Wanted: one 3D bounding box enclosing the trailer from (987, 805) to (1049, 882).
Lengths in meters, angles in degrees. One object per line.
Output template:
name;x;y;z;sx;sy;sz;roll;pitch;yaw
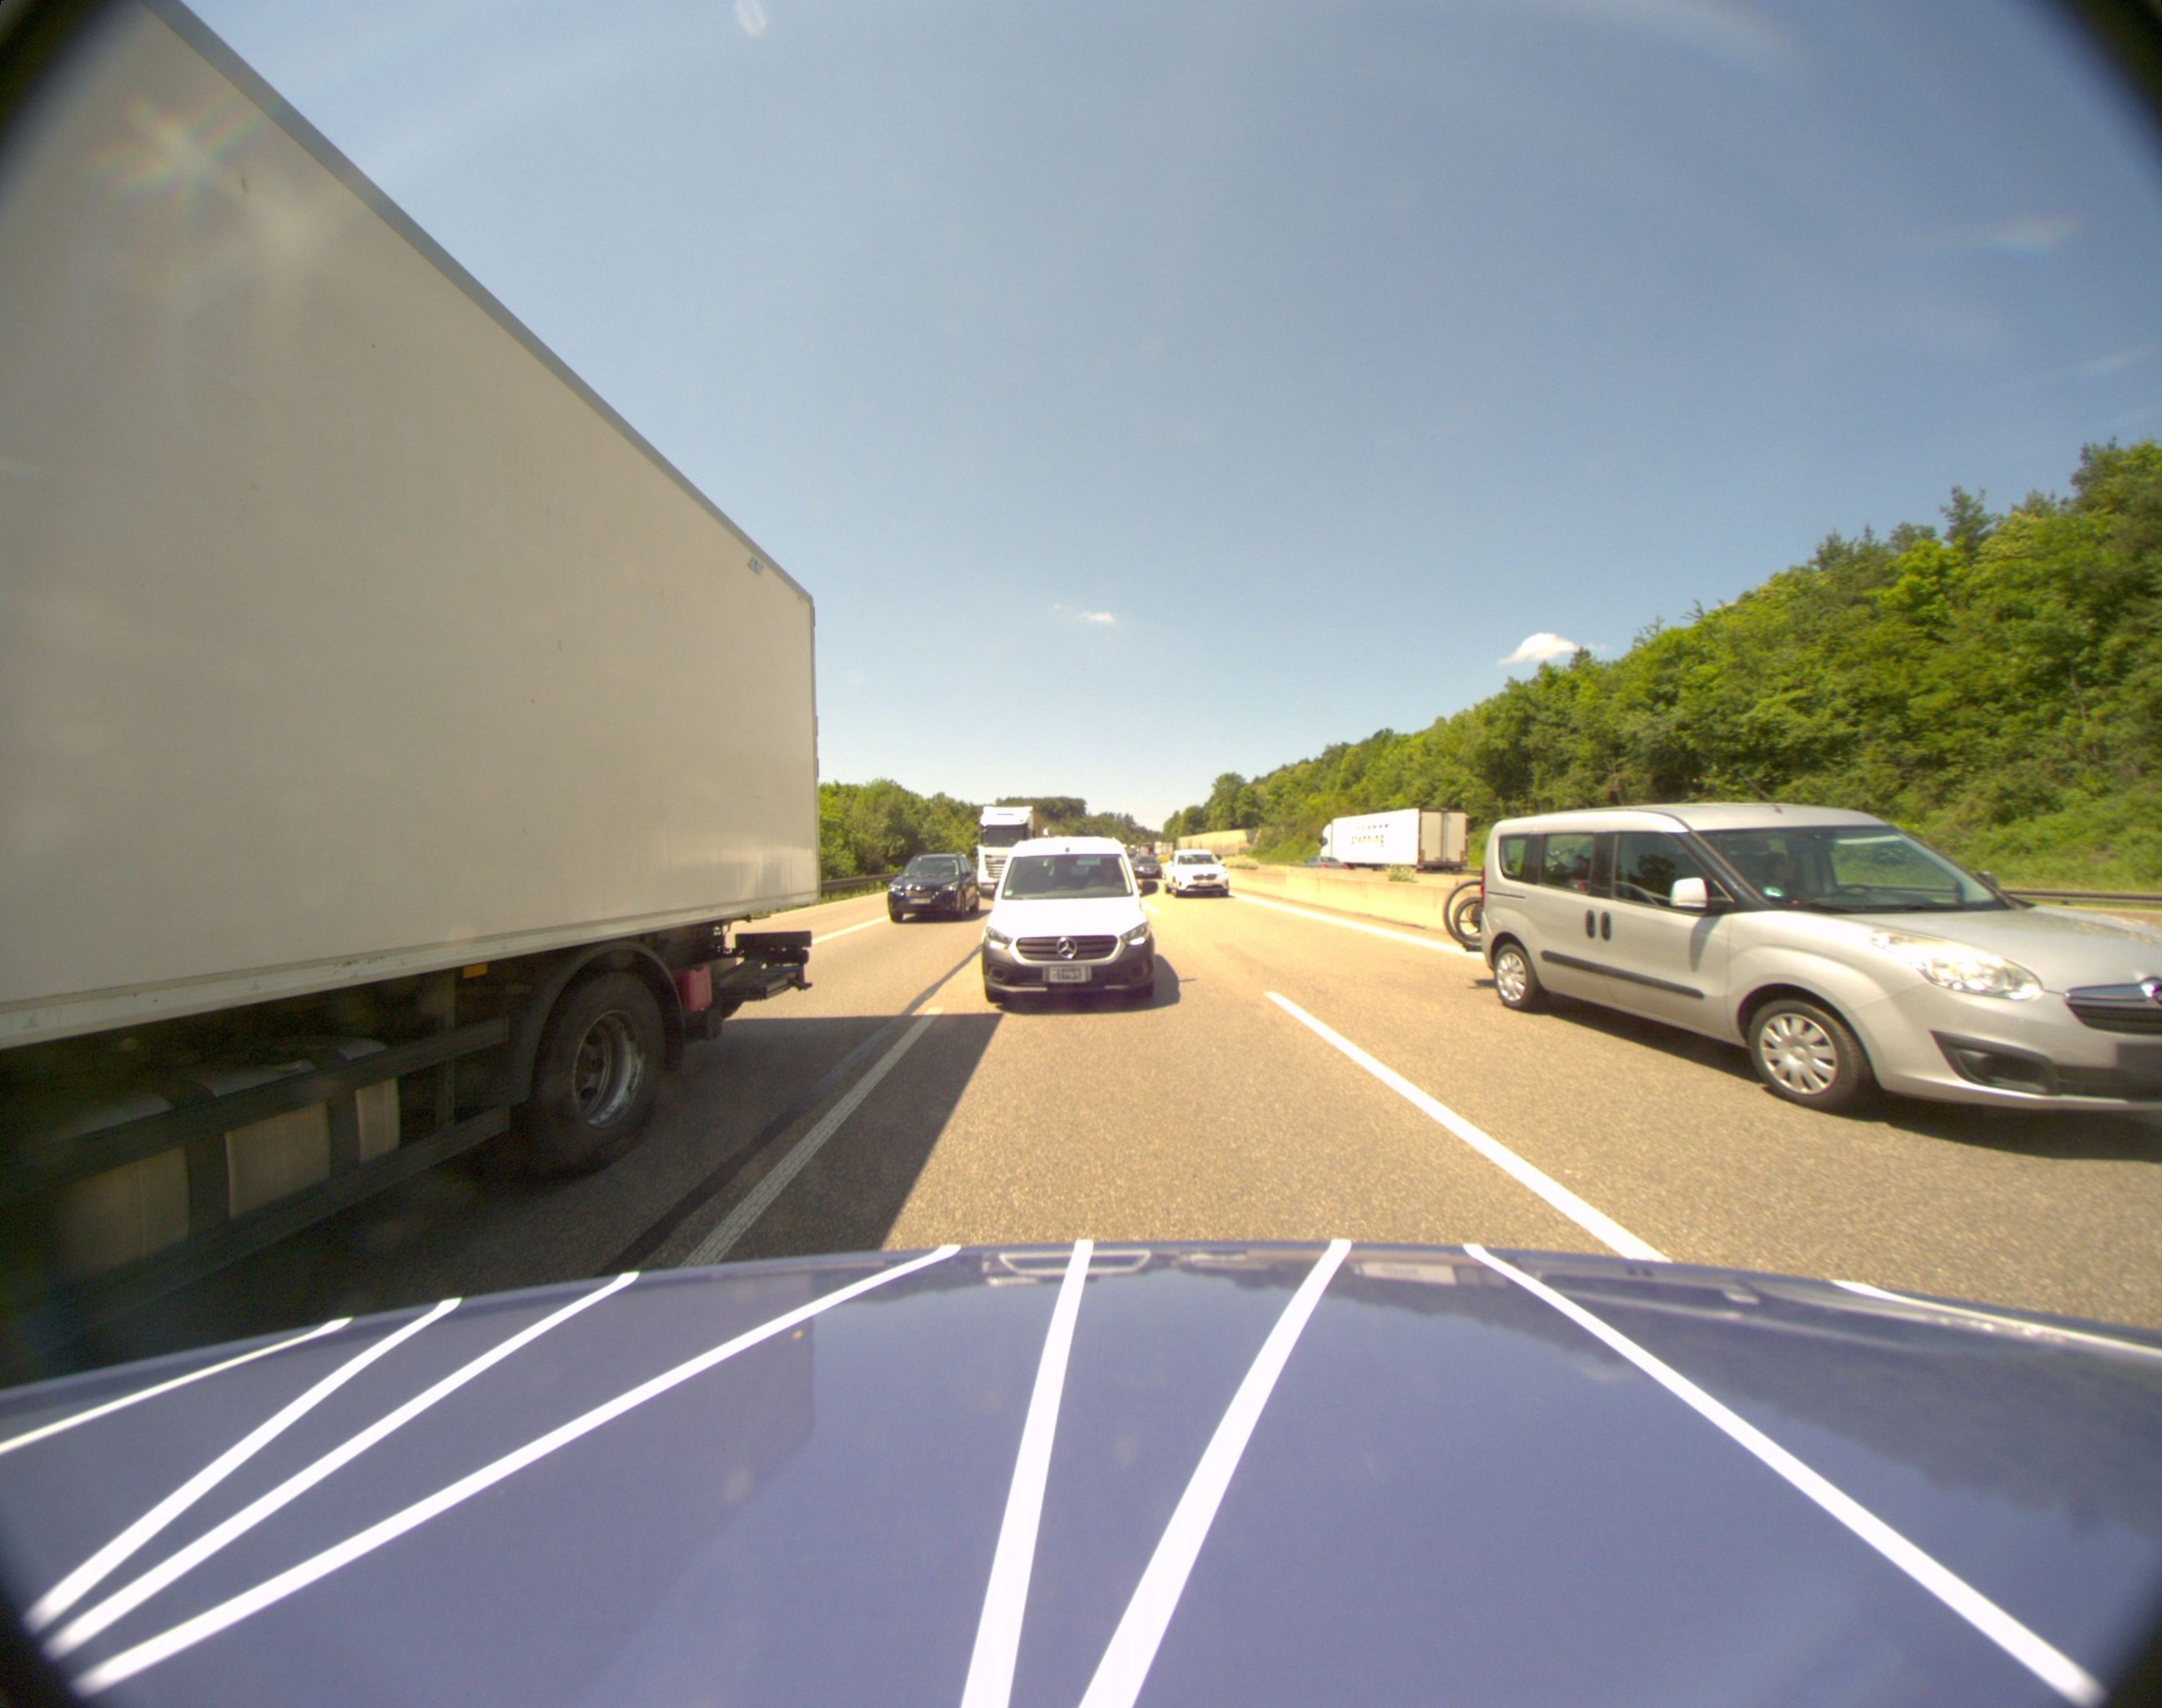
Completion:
trailer;-3.590;-0.659;46.192;2.767;4.061;11.614;0;1;0

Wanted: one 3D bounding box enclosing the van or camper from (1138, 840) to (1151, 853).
van or camper;15.512;-1.885;185.643;2.401;2.860;6.709;-2;1;-3

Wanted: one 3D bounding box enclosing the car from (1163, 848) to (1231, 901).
car;4.130;0.671;27.690;1.824;1.696;3.999;-2;1;0

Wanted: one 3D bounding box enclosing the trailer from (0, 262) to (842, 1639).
trailer;-3.558;0.206;3.207;2.562;2.882;7.881;-2;0;0

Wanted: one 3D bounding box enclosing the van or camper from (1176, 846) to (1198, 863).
van or camper;15.024;0.034;107.718;2.000;2.371;4.805;0;0;-7

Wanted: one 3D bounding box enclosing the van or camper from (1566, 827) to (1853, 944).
van or camper;12.595;0.506;15.787;1.998;2.002;4.927;-2;1;2

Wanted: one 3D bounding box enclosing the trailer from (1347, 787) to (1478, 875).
trailer;18.935;-1.272;44.448;2.956;4.456;10.814;-2;1;1

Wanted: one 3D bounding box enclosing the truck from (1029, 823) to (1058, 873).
truck;-3.566;-0.516;74.742;2.395;4.437;10.868;-2;0;-1

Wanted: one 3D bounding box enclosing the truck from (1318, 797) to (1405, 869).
truck;18.986;-1.411;51.991;2.957;4.456;7.516;-2;1;-1

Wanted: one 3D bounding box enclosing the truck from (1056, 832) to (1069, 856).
truck;-3.257;-1.691;134.902;2.187;4.073;10.868;-2;0;-1

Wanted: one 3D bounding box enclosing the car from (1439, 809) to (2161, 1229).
car;4.793;0.639;5.679;1.857;1.762;4.916;-2;1;0

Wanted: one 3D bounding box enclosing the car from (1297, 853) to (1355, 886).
car;14.747;0.892;46.000;1.999;1.753;4.450;-2;1;0

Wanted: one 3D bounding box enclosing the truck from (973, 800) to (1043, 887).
truck;-3.658;-0.564;39.794;2.766;4.061;7.332;-2;1;1

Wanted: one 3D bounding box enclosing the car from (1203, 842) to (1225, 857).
car;19.105;-0.709;109.552;2.119;2.002;4.476;-2;1;-3

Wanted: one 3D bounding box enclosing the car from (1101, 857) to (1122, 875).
car;3.520;1.377;88.560;1.999;2.002;3.998;-2;1;-2

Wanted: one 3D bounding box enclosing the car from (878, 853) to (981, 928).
car;-3.880;0.852;20.292;1.999;1.682;4.609;0;1;-3

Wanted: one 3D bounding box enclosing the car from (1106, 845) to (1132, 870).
car;3.083;0.282;62.297;1.998;2.002;4.000;-1;0;0

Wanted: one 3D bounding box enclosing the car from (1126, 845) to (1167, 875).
car;4.038;0.335;47.453;1.999;1.747;3.998;-2;1;-3

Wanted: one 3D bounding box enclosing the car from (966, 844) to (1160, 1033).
car;-0.158;0.765;9.278;1.756;1.681;4.363;-2;1;0

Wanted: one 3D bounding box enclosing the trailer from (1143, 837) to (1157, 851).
trailer;21.070;-3.024;234.008;3.443;4.171;7.895;-2;1;0

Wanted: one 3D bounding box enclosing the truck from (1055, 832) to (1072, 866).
truck;-2.431;-0.676;106.697;2.187;4.437;10.868;-2;0;-1

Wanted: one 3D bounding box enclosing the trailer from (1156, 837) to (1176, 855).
trailer;18.965;-1.876;169.459;3.005;3.850;11.397;-2;1;0
